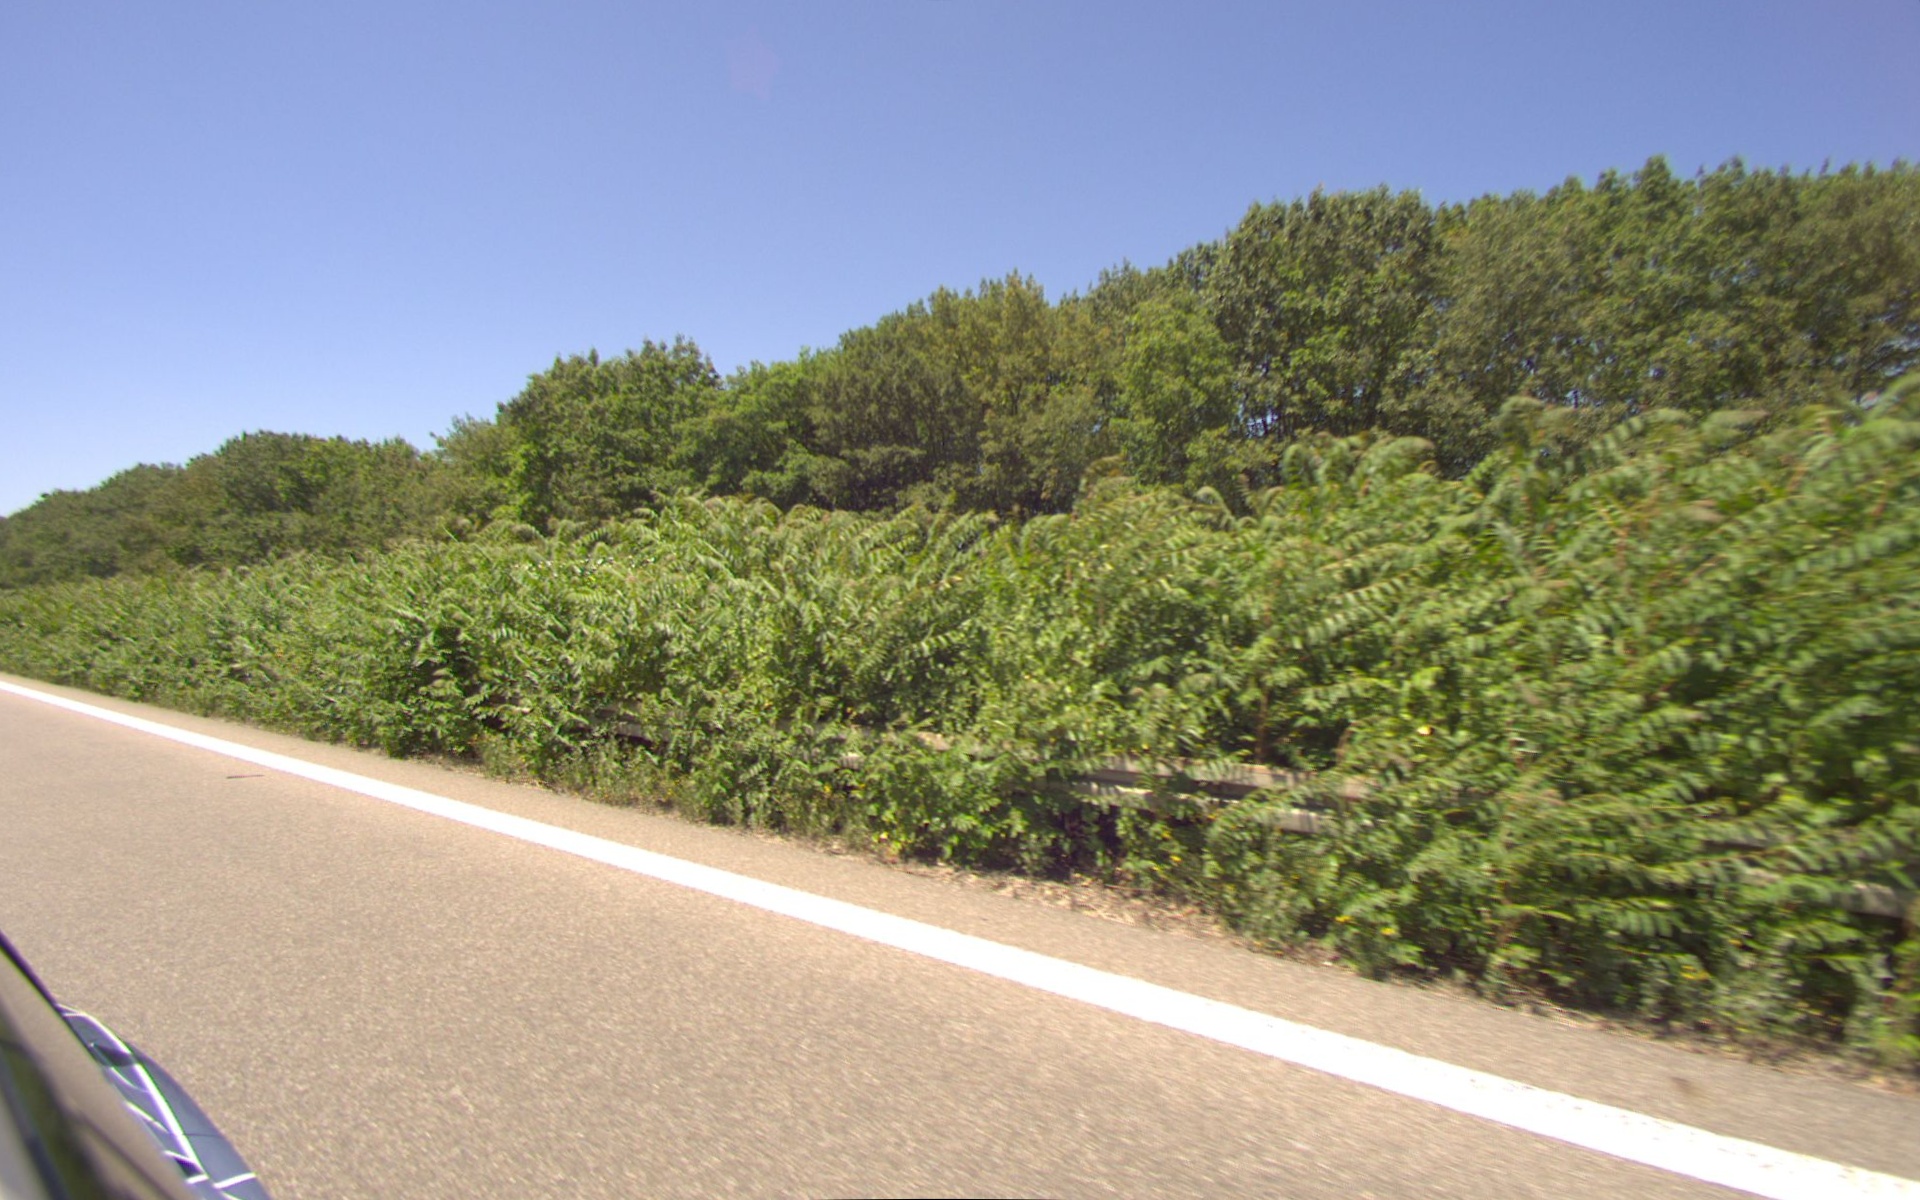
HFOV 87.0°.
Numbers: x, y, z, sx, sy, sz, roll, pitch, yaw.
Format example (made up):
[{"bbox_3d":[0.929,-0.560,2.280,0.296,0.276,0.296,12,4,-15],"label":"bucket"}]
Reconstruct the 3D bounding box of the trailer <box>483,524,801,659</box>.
[{"bbox_3d":[-10.706,-0.124,32.518,13.420,3.597,2.934,-1,-1,39],"label":"trailer"}]

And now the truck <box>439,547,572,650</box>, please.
[{"bbox_3d":[-16.885,-0.020,37.593,4.218,3.585,2.935,-1,-1,39],"label":"truck"}]

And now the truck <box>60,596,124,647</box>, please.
[{"bbox_3d":[-70.454,1.782,82.102,5.865,4.001,2.789,-1,-2,38],"label":"truck"}]
